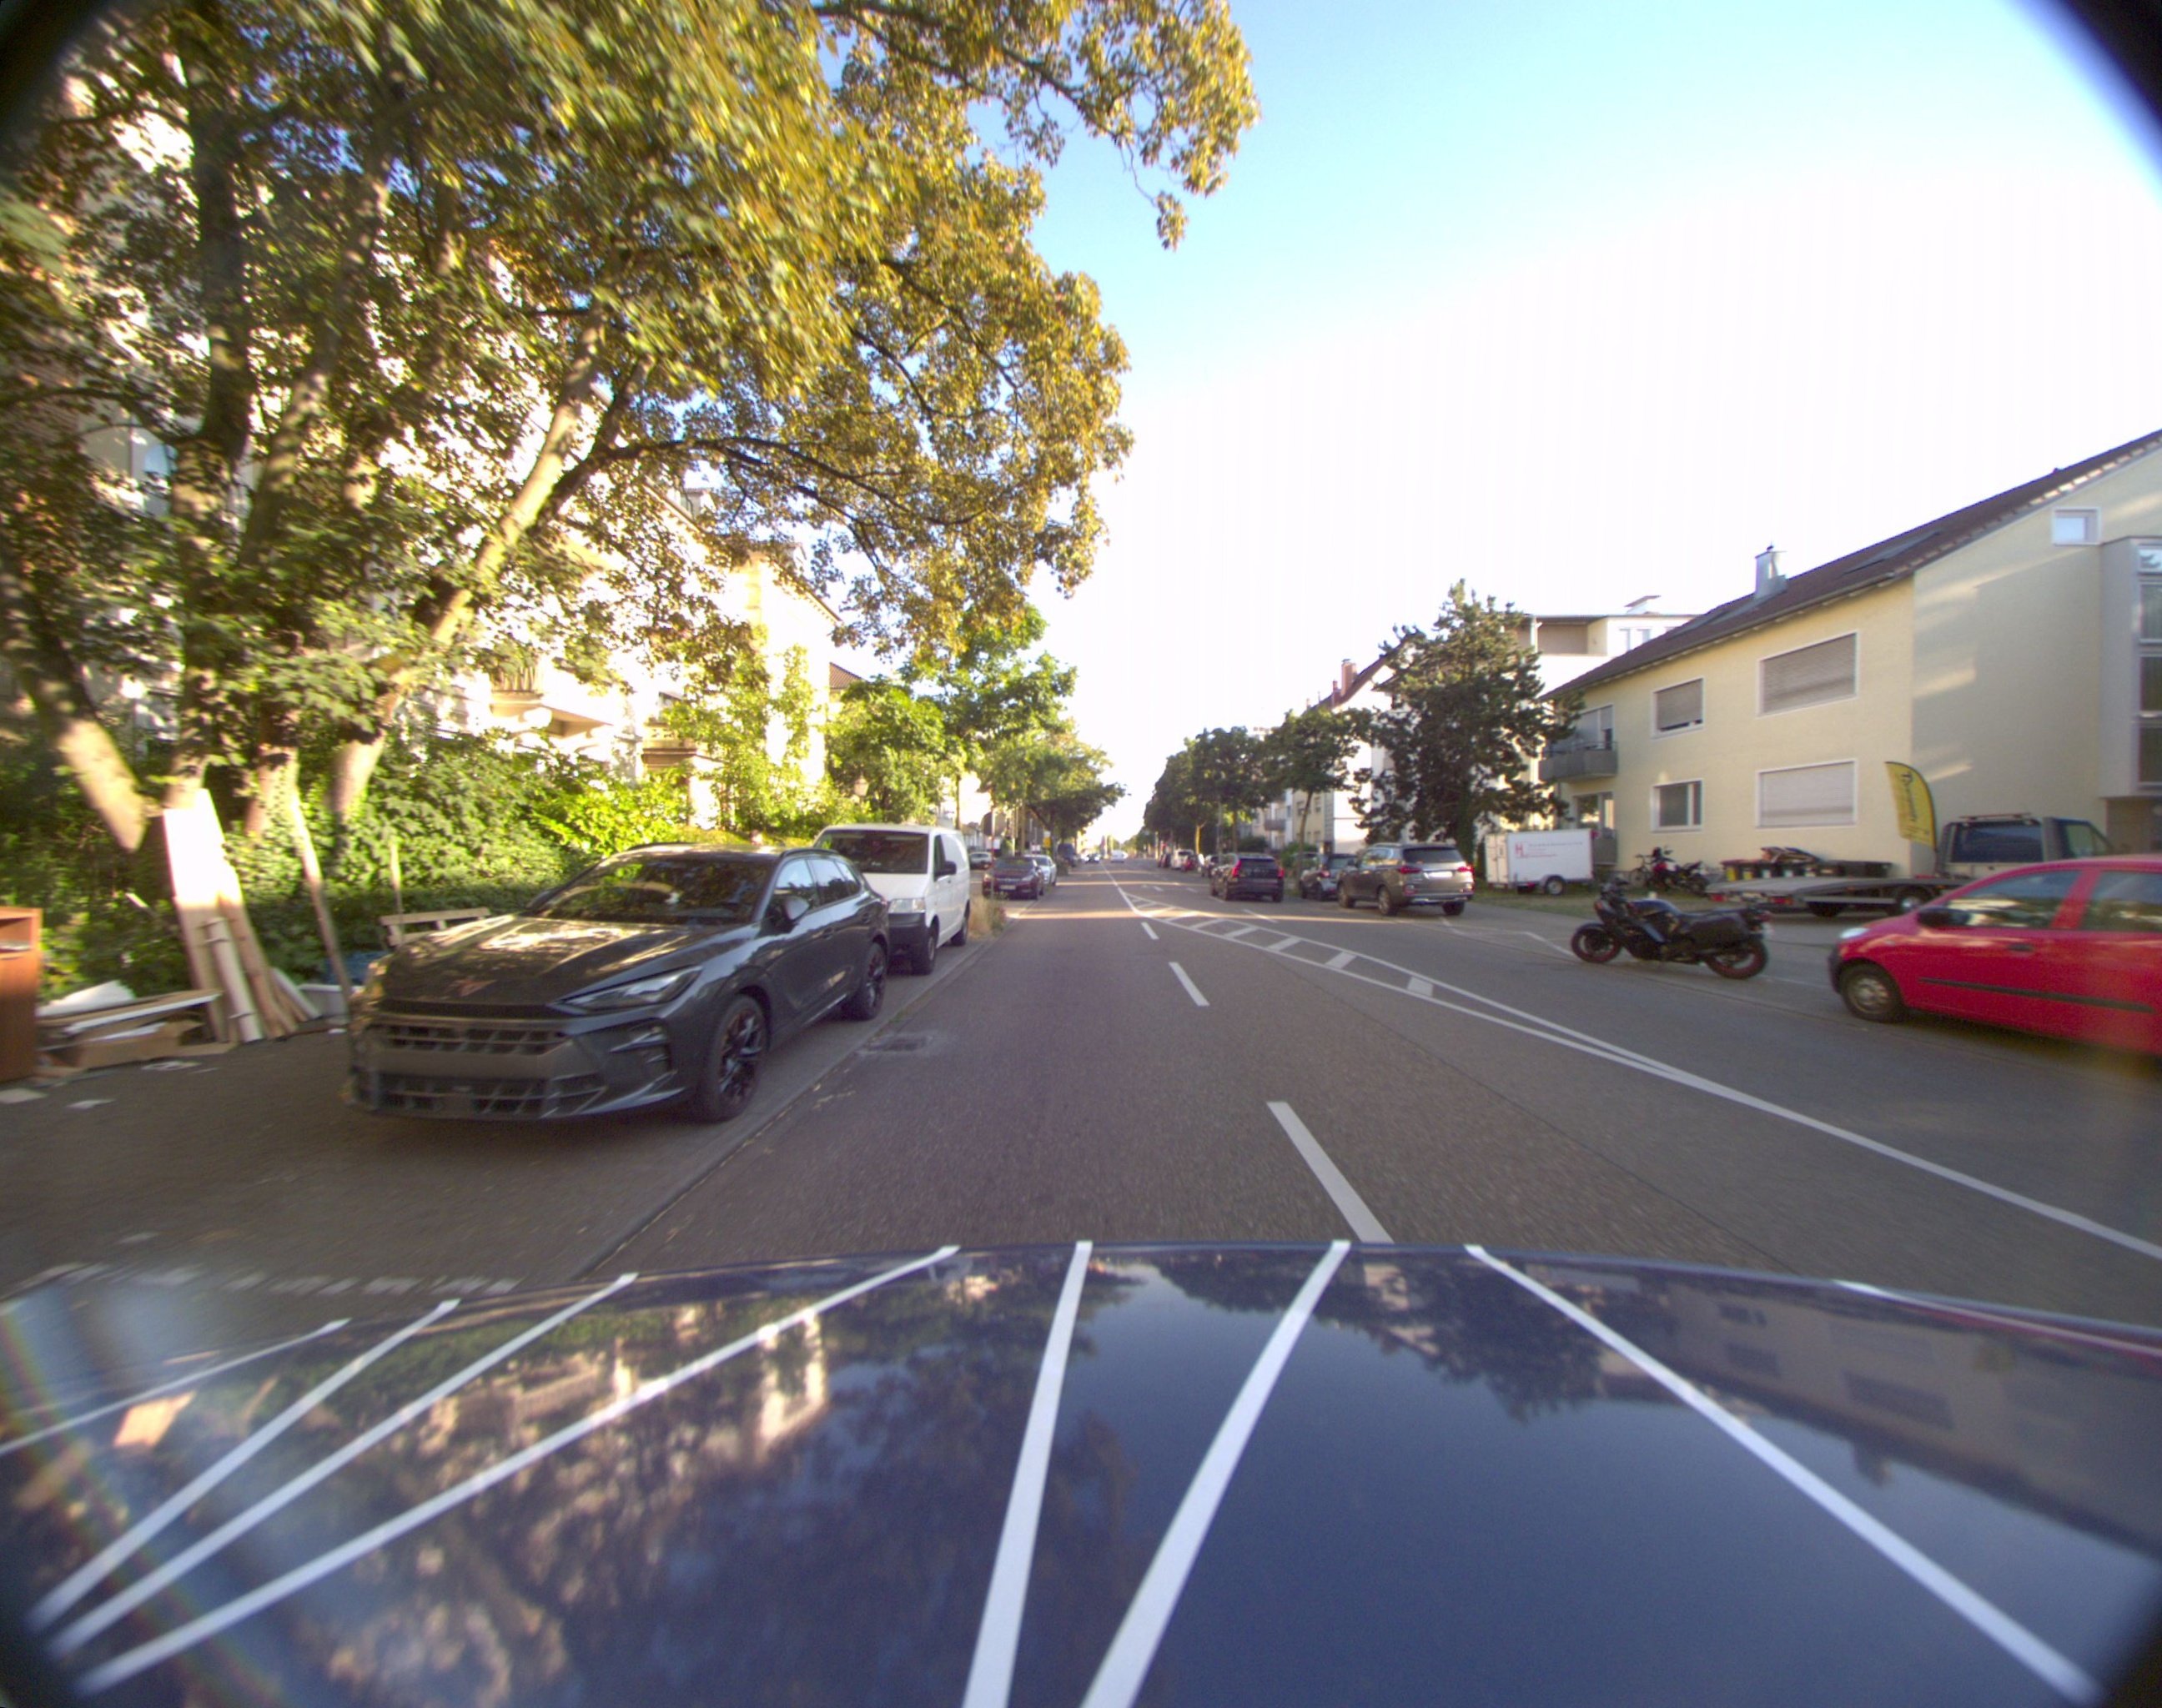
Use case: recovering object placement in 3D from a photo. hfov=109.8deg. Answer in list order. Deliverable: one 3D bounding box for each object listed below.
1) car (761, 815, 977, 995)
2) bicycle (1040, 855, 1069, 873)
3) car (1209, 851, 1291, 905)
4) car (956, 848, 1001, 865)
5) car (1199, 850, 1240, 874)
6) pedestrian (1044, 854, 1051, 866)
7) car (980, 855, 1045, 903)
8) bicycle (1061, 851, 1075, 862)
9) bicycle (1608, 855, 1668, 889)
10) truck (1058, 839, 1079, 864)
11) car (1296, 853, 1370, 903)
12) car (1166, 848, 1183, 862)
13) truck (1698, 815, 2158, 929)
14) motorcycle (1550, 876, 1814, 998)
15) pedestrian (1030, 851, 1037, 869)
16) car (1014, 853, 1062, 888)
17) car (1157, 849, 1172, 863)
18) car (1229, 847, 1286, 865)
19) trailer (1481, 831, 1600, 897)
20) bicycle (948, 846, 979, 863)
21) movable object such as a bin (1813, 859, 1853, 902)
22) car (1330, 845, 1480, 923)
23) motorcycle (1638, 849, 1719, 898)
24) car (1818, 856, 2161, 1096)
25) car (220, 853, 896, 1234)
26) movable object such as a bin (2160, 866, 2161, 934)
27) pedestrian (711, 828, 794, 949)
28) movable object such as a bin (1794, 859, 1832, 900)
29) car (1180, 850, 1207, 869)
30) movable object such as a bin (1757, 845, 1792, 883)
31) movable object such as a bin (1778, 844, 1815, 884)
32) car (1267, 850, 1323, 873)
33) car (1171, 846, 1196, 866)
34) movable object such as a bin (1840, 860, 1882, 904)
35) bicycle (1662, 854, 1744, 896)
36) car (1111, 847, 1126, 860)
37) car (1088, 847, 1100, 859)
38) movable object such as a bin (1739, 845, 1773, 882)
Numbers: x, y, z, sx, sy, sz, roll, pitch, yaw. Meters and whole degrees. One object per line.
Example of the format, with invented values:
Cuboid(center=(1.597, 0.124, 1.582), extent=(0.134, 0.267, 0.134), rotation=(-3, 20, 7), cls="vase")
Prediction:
Cuboid(center=(-2.795, 0.578, 11.233), extent=(1.908, 2.091, 4.640), rotation=(0, 1, -1), cls="car")
Cuboid(center=(-1.766, 0.672, 51.183), extent=(1.894, 1.155, 0.616), rotation=(2, 2, 28), cls="bicycle")
Cuboid(center=(5.536, 0.731, 25.385), extent=(1.840, 1.561, 3.999), rotation=(2, 1, 1), cls="car")
Cuboid(center=(-9.204, 0.206, 68.310), extent=(3.877, 1.496, 1.575), rotation=(0, 1, -4), cls="car")
Cuboid(center=(8.869, 0.466, 48.922), extent=(1.862, 1.477, 3.999), rotation=(0, 0, 0), cls="car")
Cuboid(center=(-3.059, 0.532, 69.757), extent=(0.553, 1.053, 0.532), rotation=(0, 1, 2), cls="pedestrian")
Cuboid(center=(-2.293, 0.803, 26.559), extent=(1.761, 1.412, 4.614), rotation=(2, 1, 1), cls="car")
Cuboid(center=(-1.312, 0.273, 77.757), extent=(1.469, 1.058, 0.445), rotation=(0, 1, 1), cls="bicycle")
Cuboid(center=(18.740, 0.587, 25.607), extent=(0.520, 1.057, 2.046), rotation=(0, 1, 1), cls="bicycle")
Cuboid(center=(-1.288, -0.299, 81.372), extent=(1.998, 2.629, 5.615), rotation=(0, 1, 1), cls="truck")
Cuboid(center=(8.375, 0.748, 25.432), extent=(1.577, 1.546, 2.749), rotation=(0, 1, 0), cls="car")
Cuboid(center=(9.741, 0.097, 79.110), extent=(1.407, 1.397, 3.682), rotation=(-2, 1, 2), cls="car")
Cuboid(center=(17.248, 0.341, 15.799), extent=(6.911, 2.172, 2.276), rotation=(0, 1, 1), cls="truck")
Cuboid(center=(7.563, 0.955, 9.754), extent=(1.184, 1.259, 2.365), rotation=(0, 1, -23), cls="motorcycle")
Cuboid(center=(-4.477, 0.573, 72.080), extent=(0.619, 1.761, 0.562), rotation=(0, 0, 2), cls="pedestrian")
Cuboid(center=(-1.928, 0.718, 35.155), extent=(1.825, 1.469, 4.621), rotation=(0, 1, 1), cls="car")
Cuboid(center=(9.208, 0.169, 83.902), extent=(1.407, 1.456, 3.682), rotation=(-2, 1, 2), cls="car")
Cuboid(center=(15.530, 0.183, 66.833), extent=(4.563, 1.397, 1.739), rotation=(-2, 1, -9), cls="car")
Cuboid(center=(14.308, 0.300, 23.745), extent=(2.780, 2.002, 1.552), rotation=(0, 1, -1), cls="trailer")
Cuboid(center=(-9.608, 0.034, 62.177), extent=(2.459, 1.433, 0.928), rotation=(0, 1, -1), cls="bicycle")
Cuboid(center=(18.260, 0.639, 18.465), extent=(0.504, 1.013, 0.450), rotation=(0, 1, 0), cls="movable object such as a bin")
Cuboid(center=(8.225, 0.669, 19.836), extent=(1.892, 1.769, 4.725), rotation=(0, 1, 0), cls="car")
Cuboid(center=(17.369, 0.538, 22.164), extent=(0.572, 1.366, 2.258), rotation=(0, 1, 1), cls="motorcycle")
Cuboid(center=(7.835, 0.797, 5.601), extent=(1.596, 1.514, 3.437), rotation=(0, 1, 4), cls="car")
Cuboid(center=(-2.846, 0.834, 5.514), extent=(1.860, 1.594, 4.311), rotation=(2, 1, 1), cls="car")
Cuboid(center=(17.307, 0.725, 11.714), extent=(0.490, 1.084, 0.586), rotation=(0, 1, 1), cls="movable object such as a bin")
Cuboid(center=(-5.006, 0.492, 11.655), extent=(0.823, 1.763, 1.089), rotation=(0, 1, -3), cls="pedestrian")
Cuboid(center=(18.266, 0.630, 18.959), extent=(0.504, 1.013, 0.450), rotation=(0, 1, 0), cls="movable object such as a bin")
Cuboid(center=(9.056, 0.430, 61.522), extent=(1.740, 1.455, 3.636), rotation=(0, 1, 1), cls="car")
Cuboid(center=(18.350, 0.257, 20.115), extent=(0.504, 1.013, 0.450), rotation=(0, 1, 0), cls="movable object such as a bin")
Cuboid(center=(18.394, 0.258, 19.532), extent=(0.504, 1.013, 0.450), rotation=(0, 1, 0), cls="movable object such as a bin")
Cuboid(center=(14.855, 0.500, 52.872), extent=(3.467, 1.515, 1.686), rotation=(0, 1, 2), cls="car")
Cuboid(center=(9.197, 0.144, 68.609), extent=(1.740, 1.799, 4.191), rotation=(0, 1, 1), cls="car")
Cuboid(center=(18.291, 0.644, 17.816), extent=(0.504, 1.013, 0.450), rotation=(0, 1, 0), cls="movable object such as a bin")
Cuboid(center=(18.282, 0.595, 22.401), extent=(0.572, 1.134, 2.258), rotation=(-1, 1, 1), cls="bicycle")
Cuboid(center=(5.547, -0.138, 111.531), extent=(1.893, 1.793, 4.430), rotation=(1, 1, -1), cls="car")
Cuboid(center=(1.819, -0.168, 105.468), extent=(1.596, 1.696, 4.000), rotation=(0, 1, 1), cls="car")
Cuboid(center=(18.354, 0.252, 20.674), extent=(0.504, 1.013, 0.450), rotation=(0, 1, 0), cls="movable object such as a bin")
